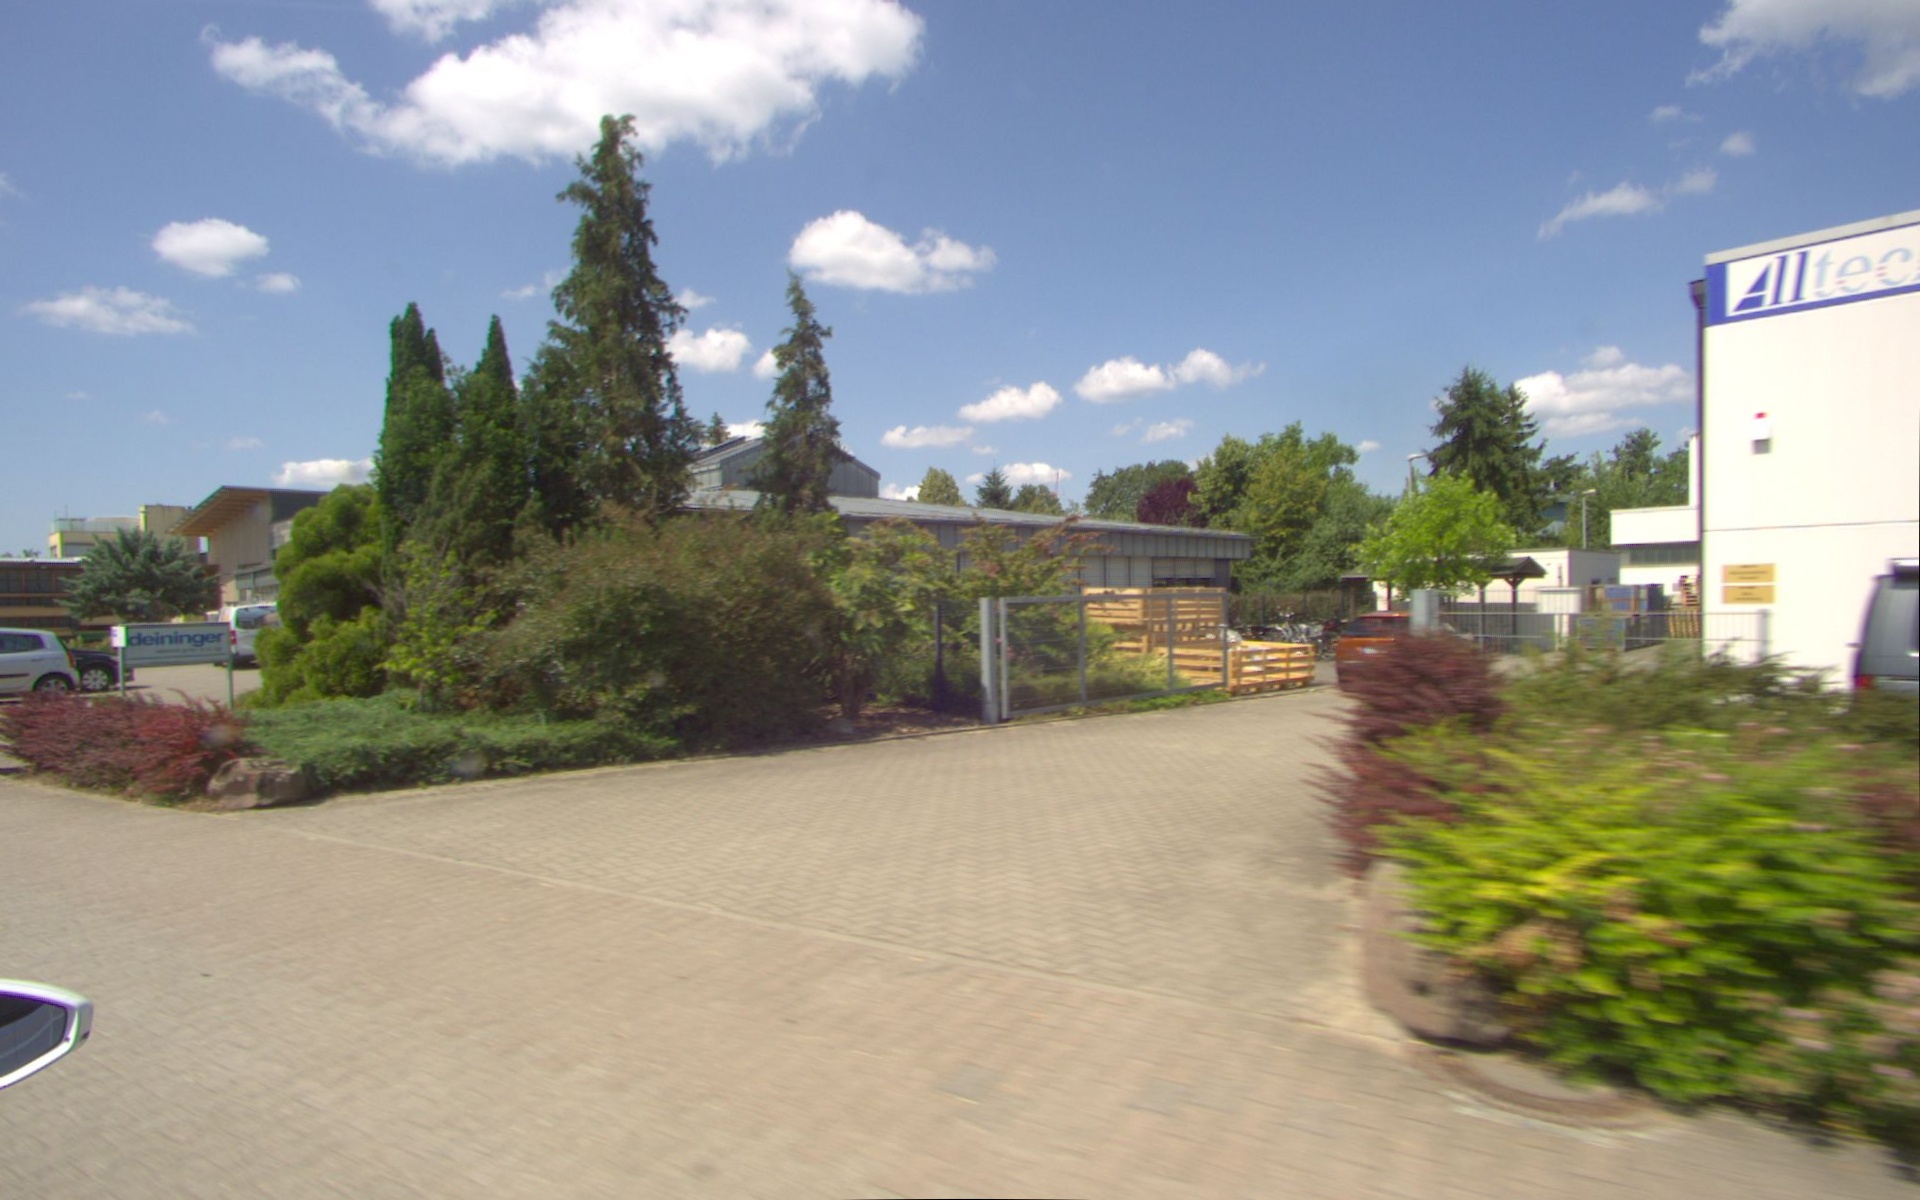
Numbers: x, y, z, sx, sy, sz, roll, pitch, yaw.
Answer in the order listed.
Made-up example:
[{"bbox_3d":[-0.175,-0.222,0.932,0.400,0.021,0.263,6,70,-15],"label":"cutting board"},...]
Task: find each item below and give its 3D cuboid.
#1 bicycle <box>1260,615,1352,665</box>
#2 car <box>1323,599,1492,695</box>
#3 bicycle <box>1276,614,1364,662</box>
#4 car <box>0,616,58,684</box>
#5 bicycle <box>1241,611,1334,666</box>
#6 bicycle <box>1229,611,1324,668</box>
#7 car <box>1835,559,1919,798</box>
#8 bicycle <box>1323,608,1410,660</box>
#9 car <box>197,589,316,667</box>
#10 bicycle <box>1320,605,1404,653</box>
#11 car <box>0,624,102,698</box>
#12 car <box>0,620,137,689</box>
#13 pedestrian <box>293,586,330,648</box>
[{"bbox_3d":[9.328,1.085,27.037,2.206,1.262,0.708,-3,0,43],"label":"bicycle"},{"bbox_3d":[8.870,0.846,19.711,1.824,1.682,4.010,-1,-1,43],"label":"car"},{"bbox_3d":[9.887,1.060,27.548,2.154,1.244,0.649,-3,0,43],"label":"bicycle"},{"bbox_3d":[-24.186,1.271,23.549,1.687,1.595,4.031,-3,0,26],"label":"car"},{"bbox_3d":[8.668,1.027,26.561,2.198,1.380,0.712,-3,0,44],"label":"bicycle"},{"bbox_3d":[8.185,1.023,25.961,2.252,1.399,0.664,-3,0,45],"label":"bicycle"},{"bbox_3d":[9.250,0.483,6.782,1.882,1.821,4.753,-3,0,-40],"label":"car"},{"bbox_3d":[11.147,0.941,27.525,0.548,1.360,2.188,-3,0,-40],"label":"bicycle"},{"bbox_3d":[-21.681,0.843,30.796,4.667,2.154,2.087,-2,2,44],"label":"car"},{"bbox_3d":[11.397,0.835,28.463,0.513,1.288,2.185,-3,0,-39],"label":"bicycle"},{"bbox_3d":[-19.511,1.212,19.949,1.746,1.420,3.344,-1,-1,34],"label":"car"},{"bbox_3d":[-21.184,1.197,21.983,1.787,1.459,4.471,-1,-1,28],"label":"car"},{"bbox_3d":[-21.173,0.556,32.691,0.680,1.968,0.714,-3,0,30],"label":"pedestrian"}]
